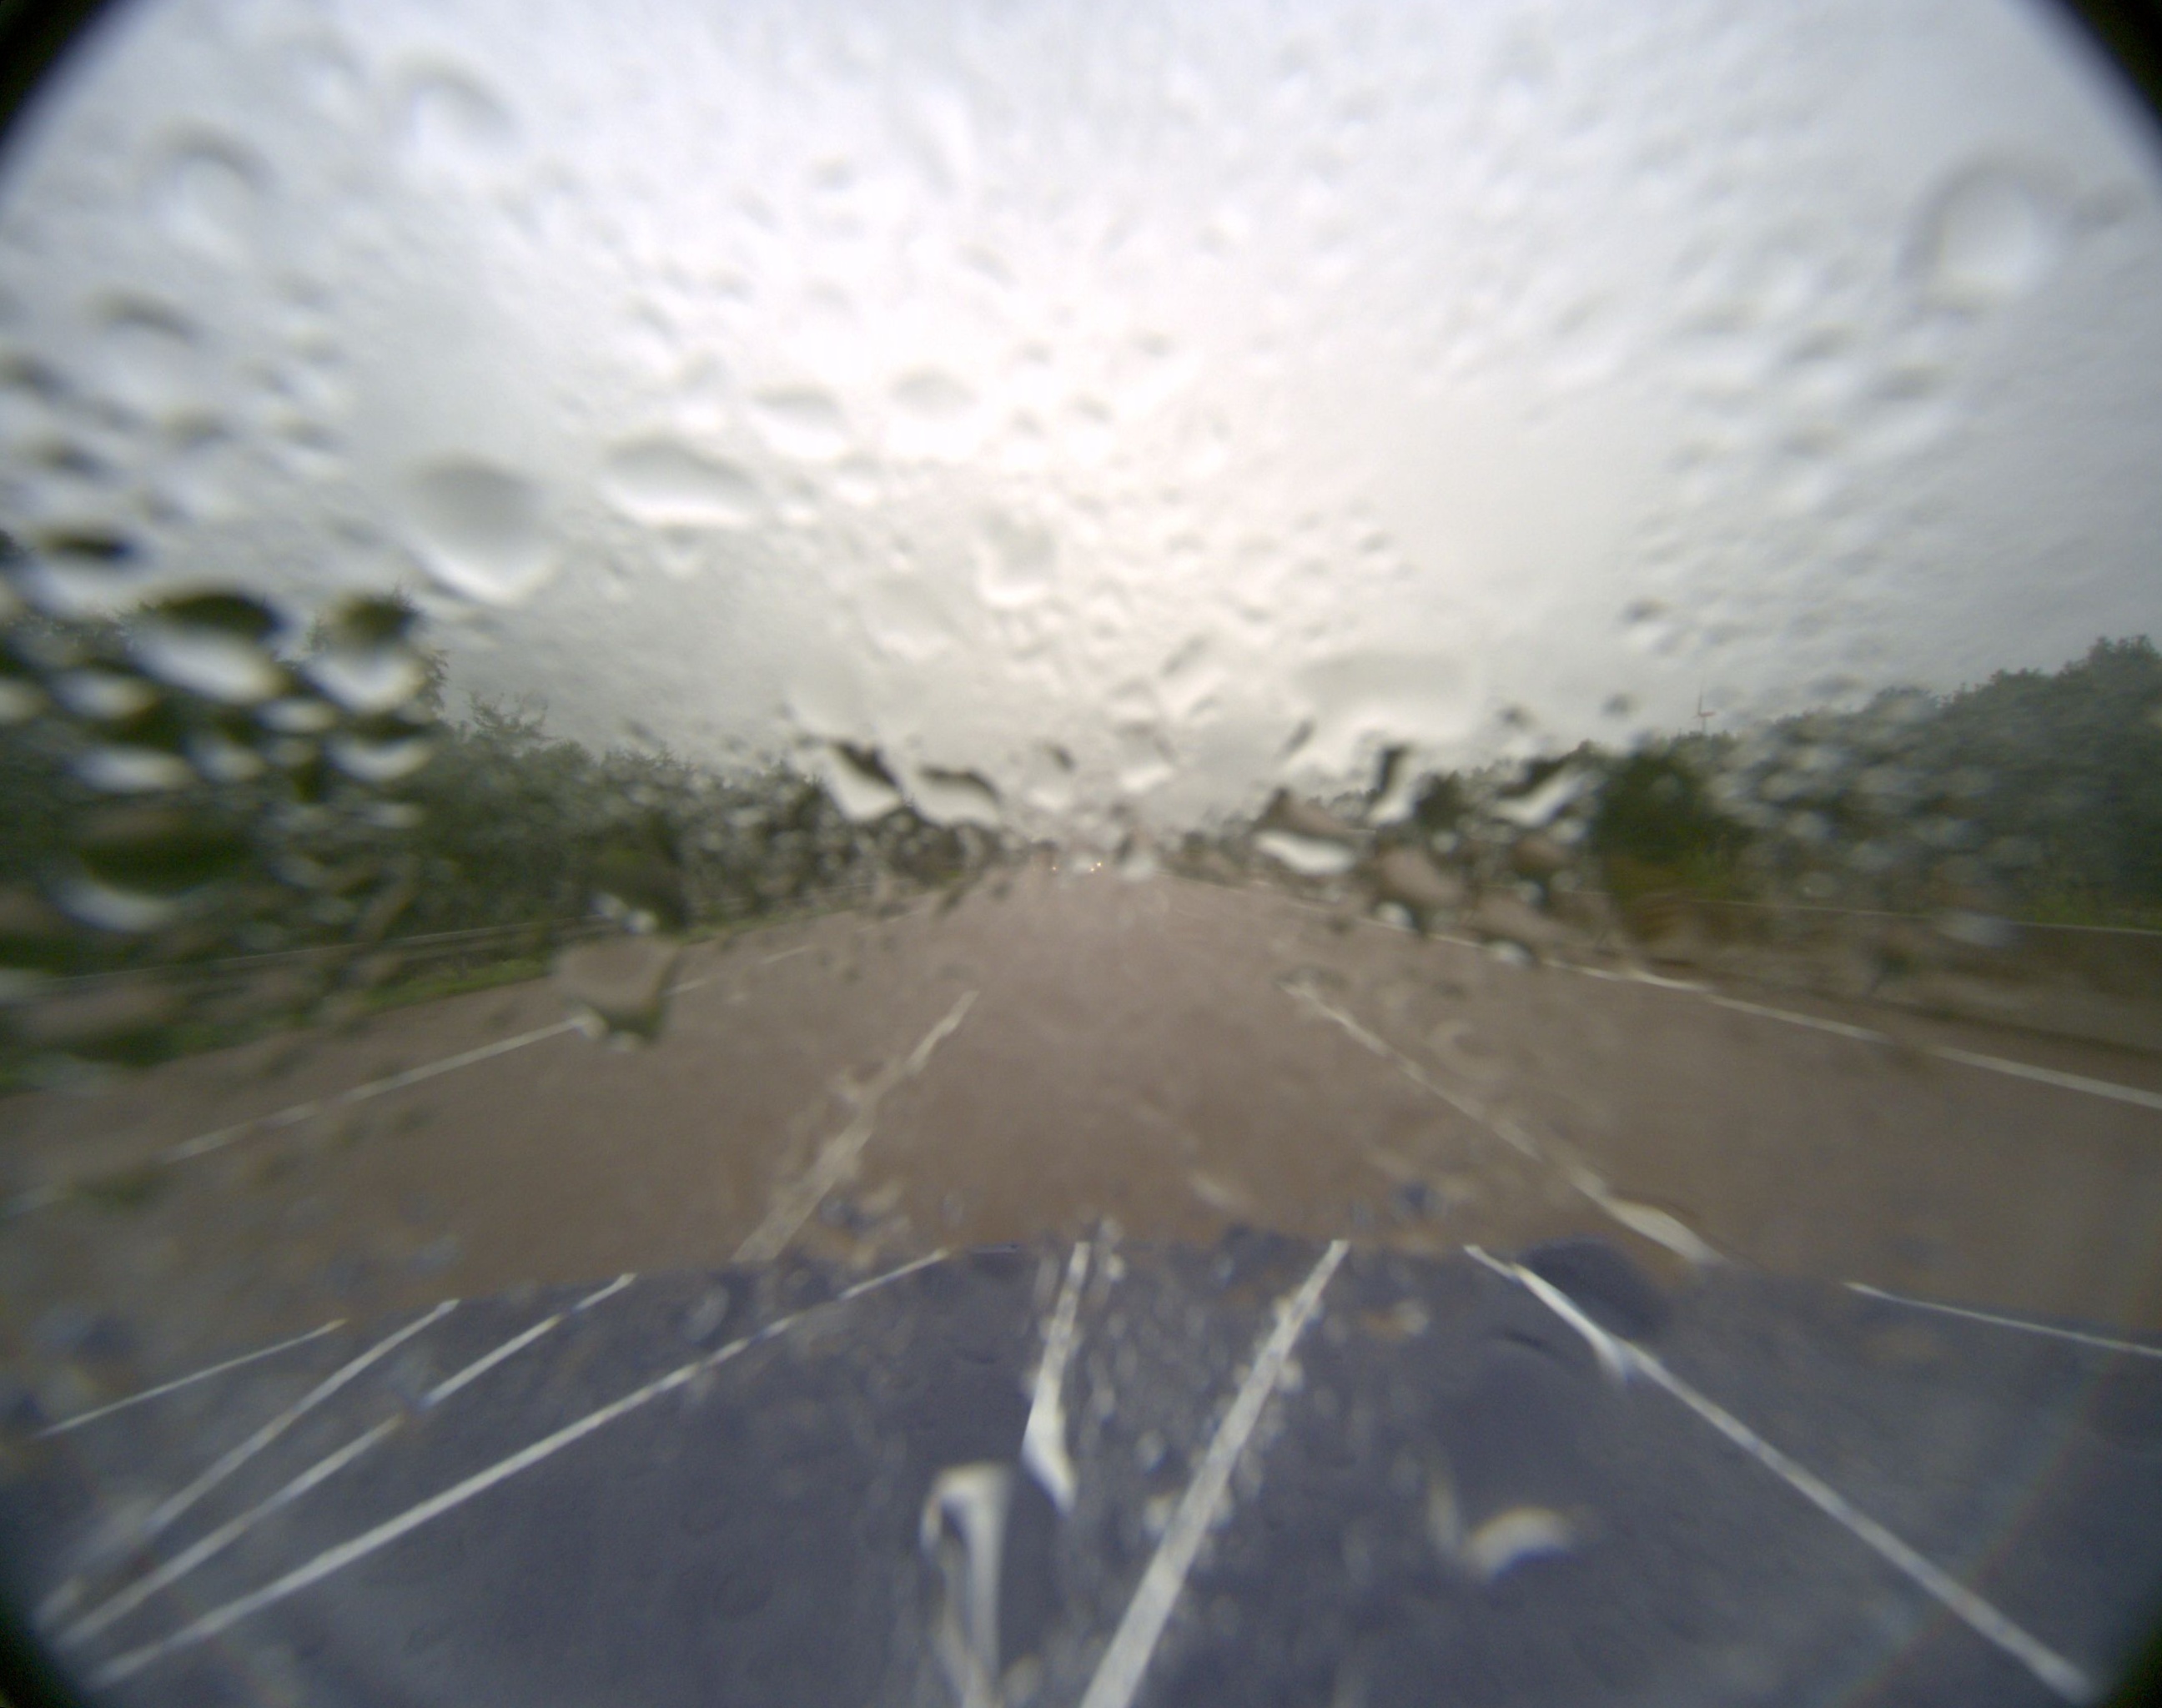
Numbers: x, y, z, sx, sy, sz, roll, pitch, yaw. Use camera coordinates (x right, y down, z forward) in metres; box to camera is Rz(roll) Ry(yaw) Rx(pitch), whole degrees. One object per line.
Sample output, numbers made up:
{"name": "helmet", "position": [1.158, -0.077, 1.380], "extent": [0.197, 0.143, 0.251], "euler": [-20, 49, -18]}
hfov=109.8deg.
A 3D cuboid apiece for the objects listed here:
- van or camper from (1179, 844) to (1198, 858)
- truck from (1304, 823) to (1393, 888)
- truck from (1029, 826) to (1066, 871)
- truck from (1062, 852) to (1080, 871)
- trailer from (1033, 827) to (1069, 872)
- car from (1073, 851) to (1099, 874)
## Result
{"name": "van or camper", "position": [18.141, -0.458, 128.535], "extent": [2.135, 2.192, 5.721], "euler": [-3, 0, -1]}
{"name": "truck", "position": [20.468, 0.079, 58.915], "extent": [3.154, 4.446, 9.556], "euler": [-3, 0, -1]}
{"name": "truck", "position": [-3.085, -0.409, 71.501], "extent": [2.887, 4.082, 6.351], "euler": [0, -1, 2]}
{"name": "truck", "position": [-2.087, 1.639, 158.450], "extent": [3.242, 3.707, 7.956], "euler": [-2, -1, 1]}
{"name": "trailer", "position": [-2.902, -0.236, 77.829], "extent": [2.859, 4.206, 13.136], "euler": [0, -1, 2]}
{"name": "car", "position": [0.442, 0.618, 60.344], "extent": [1.812, 1.718, 4.744], "euler": [-2, 0, 3]}
